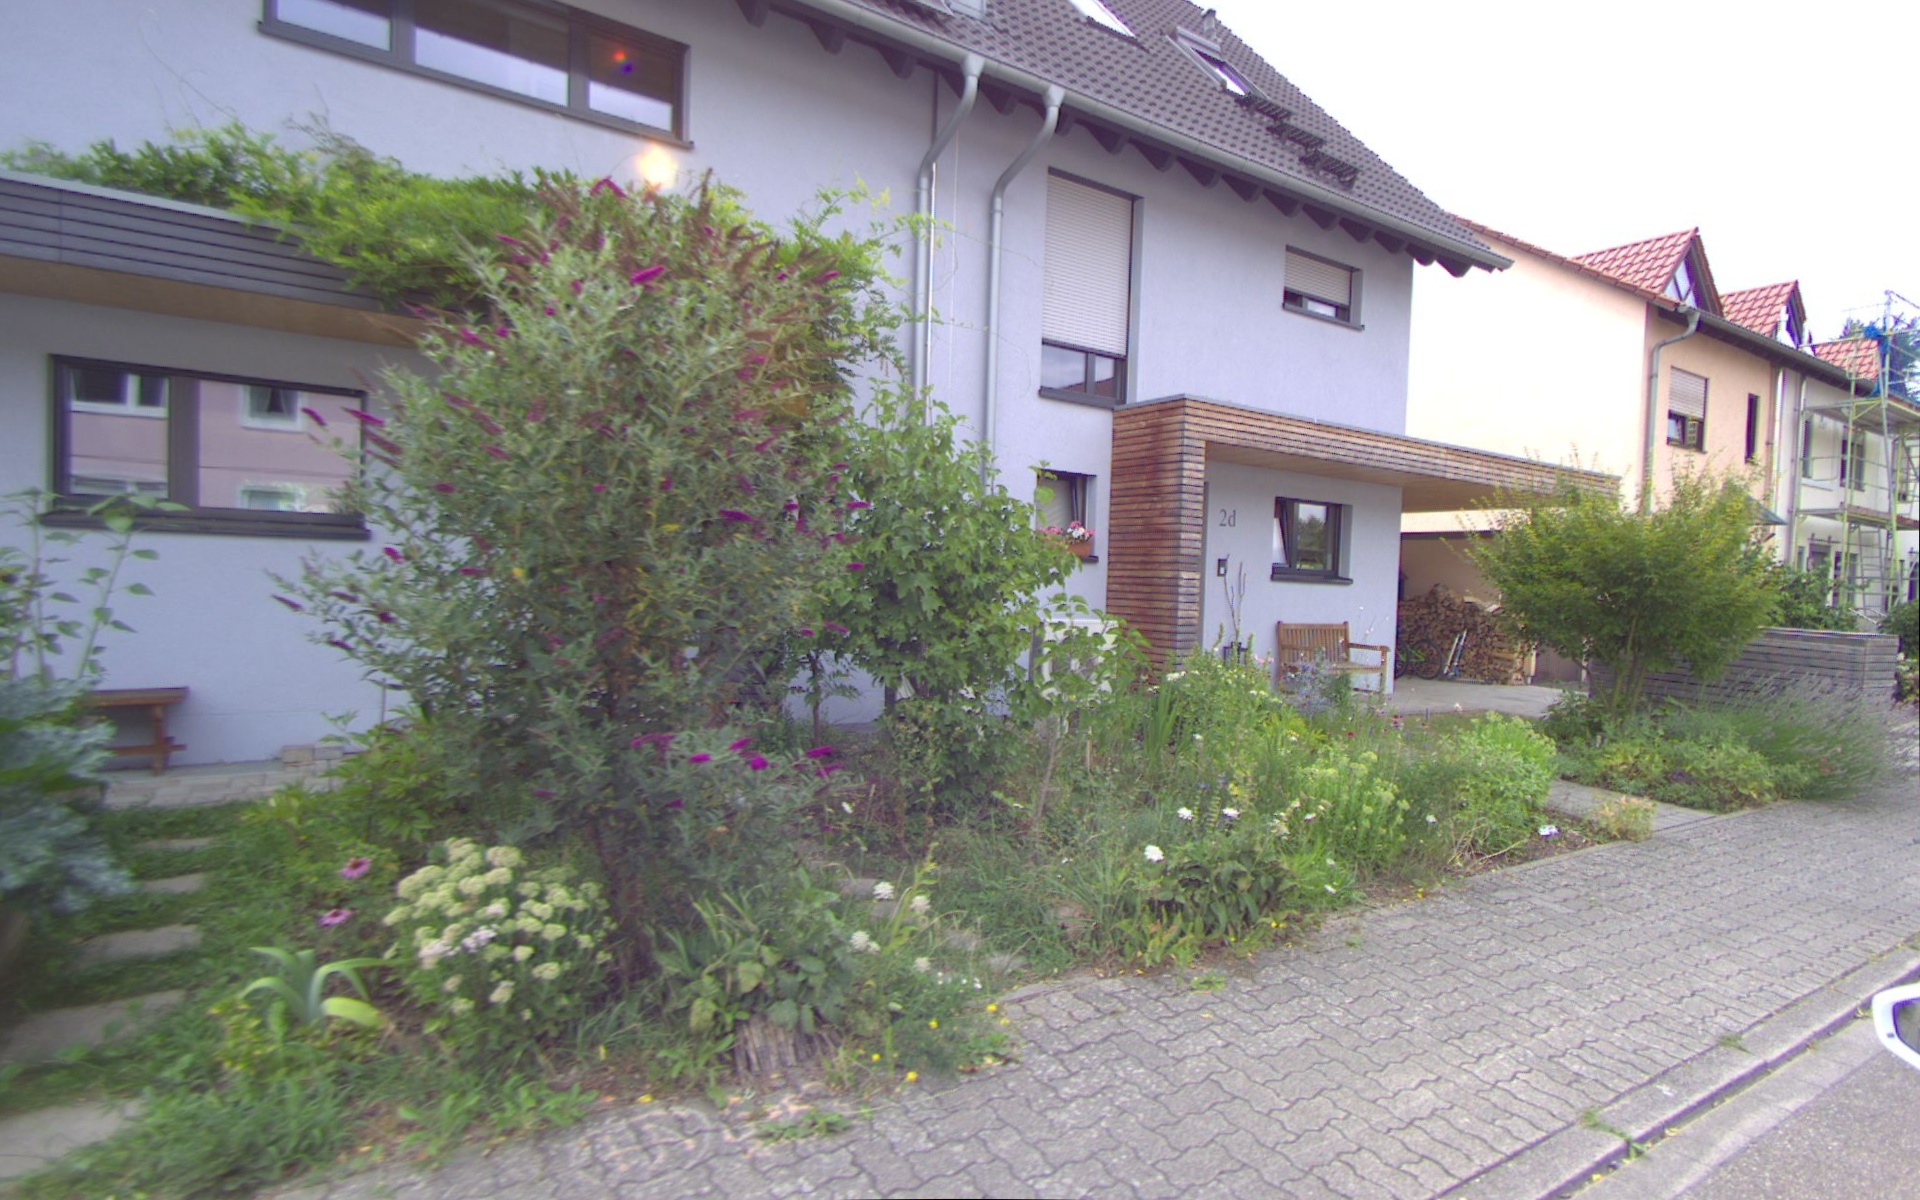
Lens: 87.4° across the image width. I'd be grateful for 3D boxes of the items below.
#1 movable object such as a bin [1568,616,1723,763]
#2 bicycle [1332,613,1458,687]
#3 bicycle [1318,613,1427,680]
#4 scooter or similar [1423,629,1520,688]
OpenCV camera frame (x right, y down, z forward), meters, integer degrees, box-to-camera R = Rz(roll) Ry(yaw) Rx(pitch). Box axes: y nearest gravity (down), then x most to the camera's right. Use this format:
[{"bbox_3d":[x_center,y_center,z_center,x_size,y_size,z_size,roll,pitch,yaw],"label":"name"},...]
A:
[{"bbox_3d":[6.770,0.839,9.933,0.990,1.329,0.944,1,1,-34],"label":"movable object such as a bin"},{"bbox_3d":[6.513,0.729,15.142,0.352,0.965,1.922,1,1,-28],"label":"bicycle"},{"bbox_3d":[6.623,0.724,16.237,0.352,0.965,1.925,1,0,-23],"label":"bicycle"},{"bbox_3d":[7.637,0.857,15.035,0.359,0.808,1.294,1,0,-33],"label":"scooter or similar"}]
